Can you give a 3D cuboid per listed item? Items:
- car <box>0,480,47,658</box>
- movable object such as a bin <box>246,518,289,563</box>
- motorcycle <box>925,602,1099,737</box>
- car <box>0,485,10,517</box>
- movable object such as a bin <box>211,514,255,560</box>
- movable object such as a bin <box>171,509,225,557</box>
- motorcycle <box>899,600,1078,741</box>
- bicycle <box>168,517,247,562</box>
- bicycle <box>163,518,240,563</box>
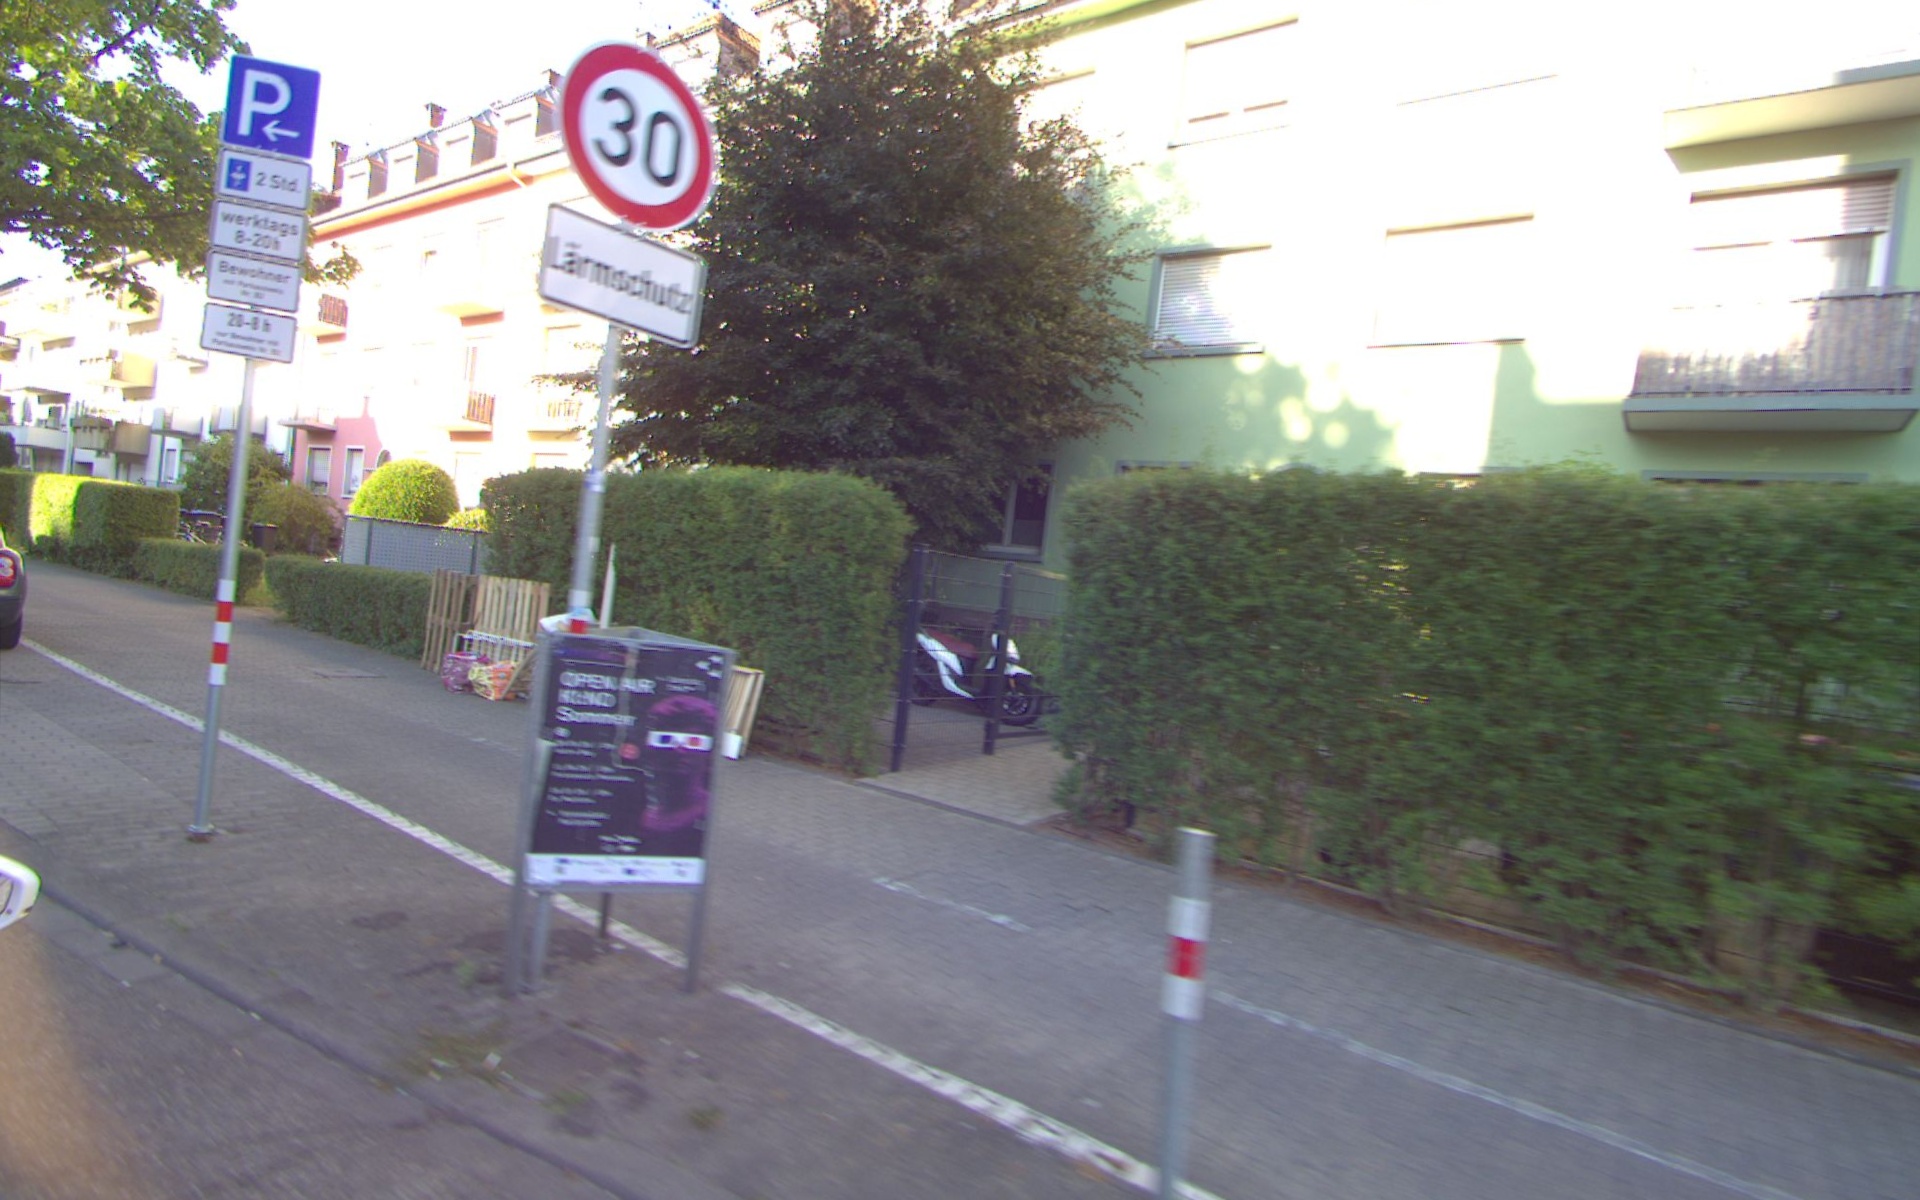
[{"bbox_3d":[-10.330,-0.495,9.544,3.589,1.570,1.732,7,1,36],"label":"car"},{"bbox_3d":[-17.555,-1.516,25.509,0.784,1.015,0.611,8,1,36],"label":"movable object such as a bin"},{"bbox_3d":[0.572,0.767,11.611,1.913,1.273,0.493,7,2,36],"label":"motorcycle"},{"bbox_3d":[-47.801,-4.959,47.462,1.795,1.480,3.990,7,0,33],"label":"car"},{"bbox_3d":[-17.983,-1.568,24.878,0.784,1.015,0.611,8,1,36],"label":"movable object such as a bin"},{"bbox_3d":[-18.399,-1.619,24.284,0.784,1.015,0.776,8,1,36],"label":"movable object such as a bin"},{"bbox_3d":[0.282,0.747,11.172,1.913,1.273,0.493,7,2,36],"label":"motorcycle"},{"bbox_3d":[-17.533,-1.392,23.471,0.363,0.864,1.369,8,1,37],"label":"bicycle"},{"bbox_3d":[-17.889,-1.397,23.748,0.359,0.864,1.359,8,1,36],"label":"bicycle"}]
